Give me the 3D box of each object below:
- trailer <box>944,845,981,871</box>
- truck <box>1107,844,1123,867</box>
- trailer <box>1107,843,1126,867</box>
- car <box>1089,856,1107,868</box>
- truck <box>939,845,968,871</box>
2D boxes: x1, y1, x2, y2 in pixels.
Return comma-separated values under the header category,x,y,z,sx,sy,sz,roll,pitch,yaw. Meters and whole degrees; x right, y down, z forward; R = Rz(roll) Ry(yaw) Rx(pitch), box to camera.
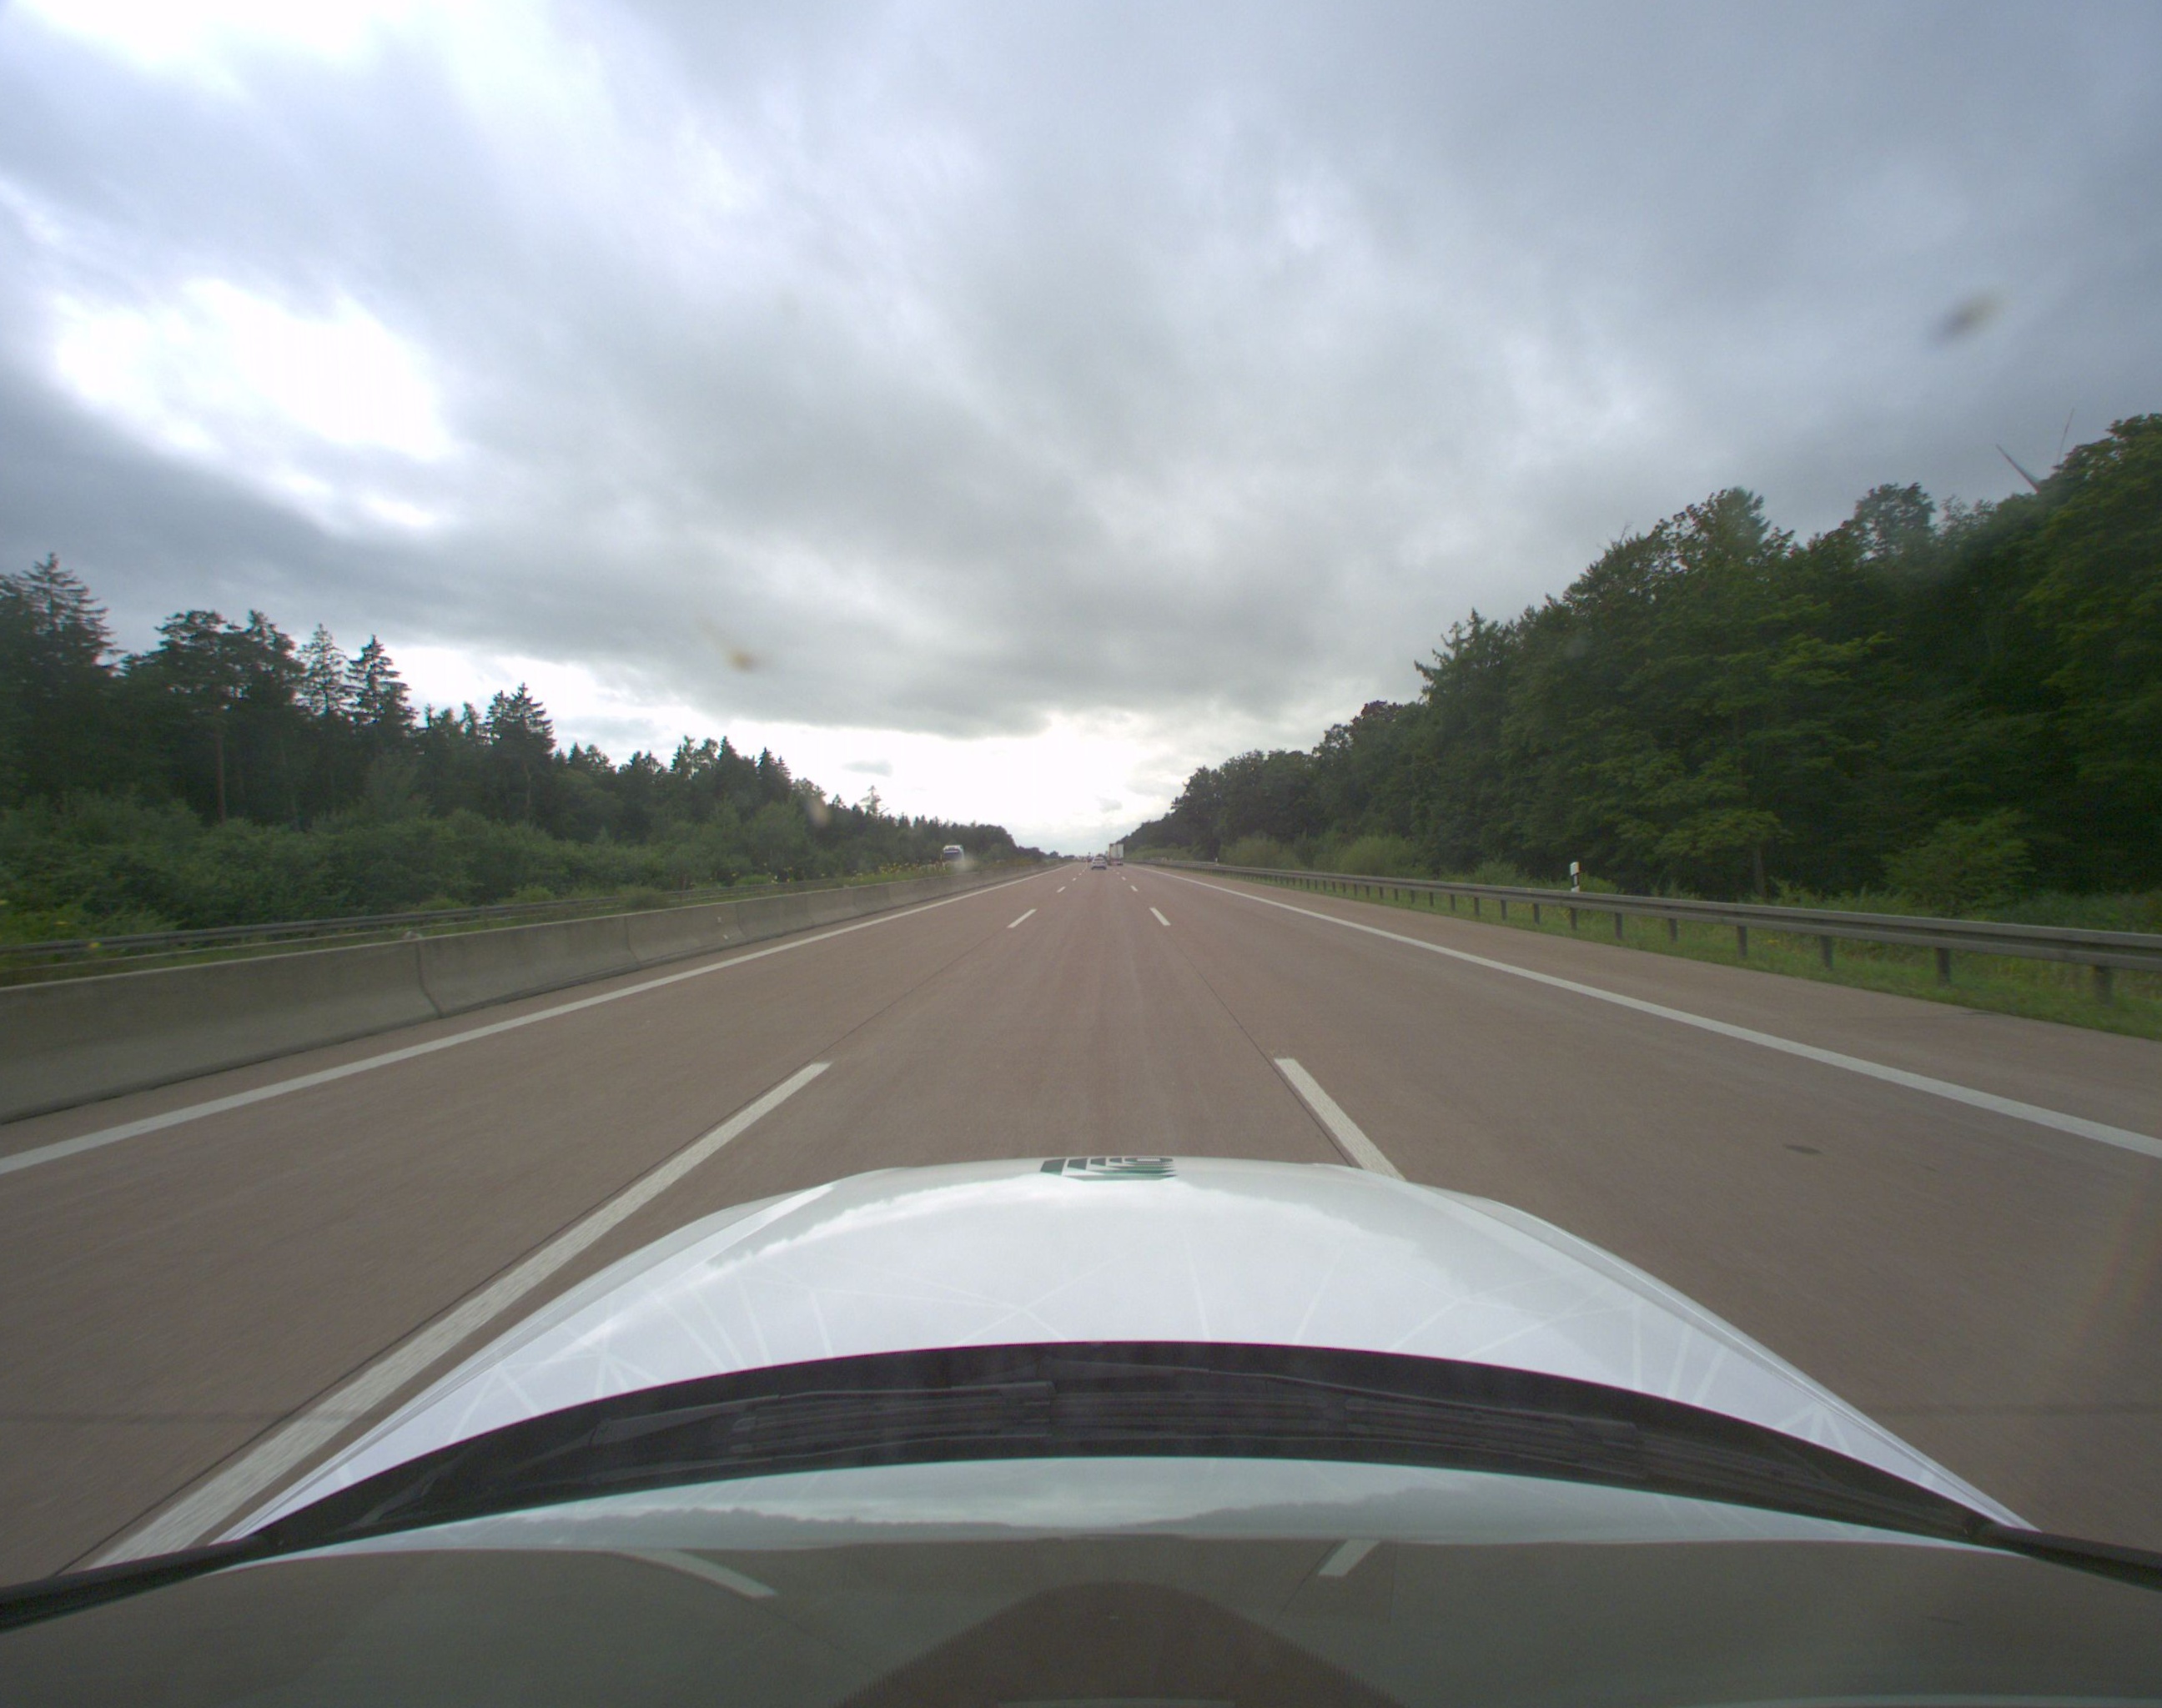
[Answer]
category,x,y,z,sx,sy,sz,roll,pitch,yaw
trailer,-16.615,0.529,115.431,2.923,3.419,13.273,0,0,1
truck,6.524,0.300,157.959,2.912,4.294,5.334,-1,-1,0
trailer,6.497,0.241,150.317,2.912,4.294,13.611,-1,-1,0
car,2.127,0.985,101.223,2.155,1.451,4.720,0,0,2
truck,-16.796,0.510,107.737,2.923,3.419,5.345,0,0,1
